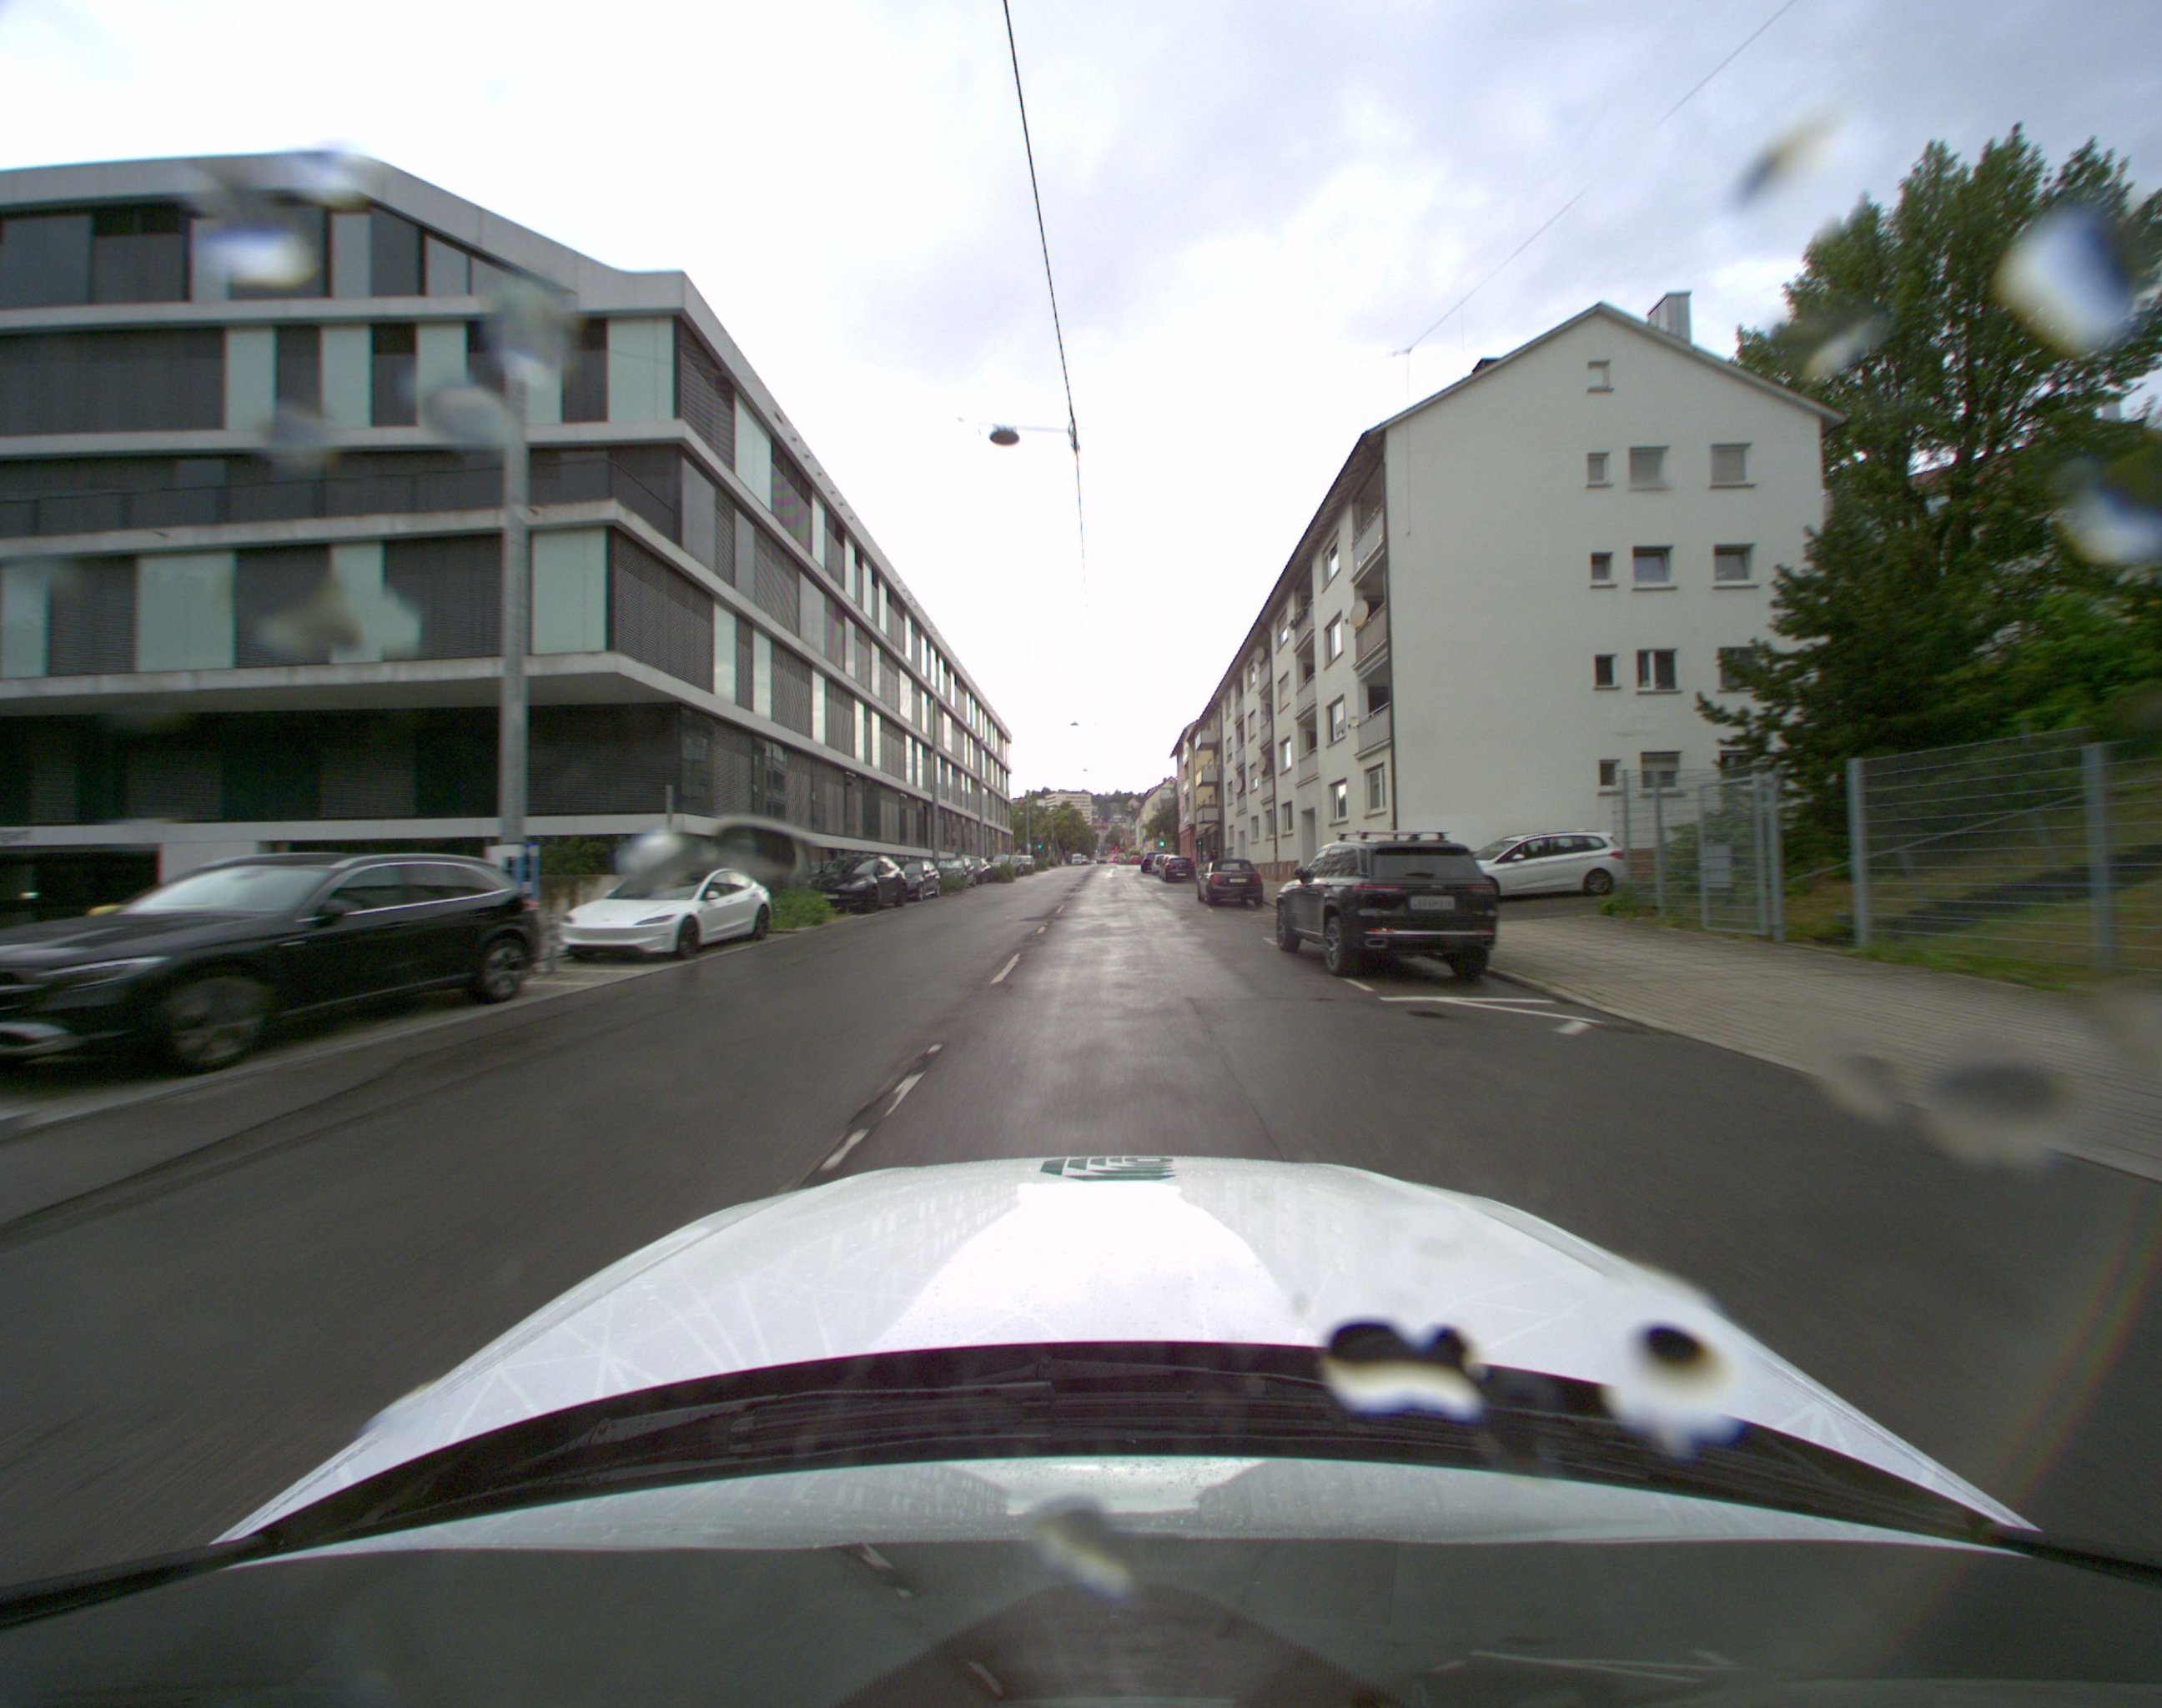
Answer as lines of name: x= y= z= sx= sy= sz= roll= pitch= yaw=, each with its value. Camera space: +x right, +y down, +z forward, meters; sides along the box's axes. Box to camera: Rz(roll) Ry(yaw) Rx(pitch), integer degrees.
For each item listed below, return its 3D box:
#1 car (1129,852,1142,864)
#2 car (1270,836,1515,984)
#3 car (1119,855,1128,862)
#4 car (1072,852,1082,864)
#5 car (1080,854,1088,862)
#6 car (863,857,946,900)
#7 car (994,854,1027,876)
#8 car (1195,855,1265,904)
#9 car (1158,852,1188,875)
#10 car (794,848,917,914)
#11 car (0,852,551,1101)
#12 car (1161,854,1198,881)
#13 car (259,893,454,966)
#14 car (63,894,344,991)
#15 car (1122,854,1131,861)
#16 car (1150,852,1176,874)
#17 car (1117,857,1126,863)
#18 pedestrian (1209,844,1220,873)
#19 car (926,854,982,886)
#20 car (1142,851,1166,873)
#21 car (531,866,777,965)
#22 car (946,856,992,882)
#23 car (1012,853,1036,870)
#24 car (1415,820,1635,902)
car: x=7.960 y=0.580 z=118.590 sx=1.858 sy=1.770 sz=4.194 roll=0 pitch=-1 yaw=5
car: x=4.250 y=0.682 z=12.060 sx=1.928 sy=1.750 sz=4.798 roll=0 pitch=-1 yaw=2
car: x=9.831 y=1.134 z=188.648 sx=1.858 sy=1.604 sz=4.194 roll=0 pitch=-1 yaw=5
car: x=-0.856 y=0.881 z=174.440 sx=2.098 sy=2.546 sz=4.749 roll=0 pitch=-1 yaw=0
car: x=0.768 y=1.138 z=213.290 sx=1.862 sy=2.141 sz=4.355 roll=0 pitch=-1 yaw=-2
car: x=-6.445 y=0.851 z=30.283 sx=1.864 sy=1.473 sz=4.742 roll=0 pitch=-1 yaw=2
car: x=-5.290 y=0.812 z=61.657 sx=1.793 sy=1.604 sz=4.239 roll=0 pitch=-1 yaw=5
car: x=4.808 y=0.785 z=26.708 sx=1.667 sy=1.459 sz=3.765 roll=0 pitch=0 yaw=1
car: x=5.826 y=0.619 z=51.707 sx=1.576 sy=1.413 sz=3.655 roll=0 pitch=-1 yaw=2
car: x=-6.558 y=0.743 z=24.332 sx=1.954 sy=1.750 sz=4.947 roll=0 pitch=-1 yaw=4
car: x=-7.390 y=0.813 z=7.566 sx=1.842 sy=1.617 sz=4.493 roll=0 pitch=-1 yaw=2
car: x=5.571 y=0.769 z=46.400 sx=1.700 sy=1.454 sz=3.986 roll=0 pitch=-1 yaw=2
car: x=-21.414 y=2.214 z=24.174 sx=4.326 sy=2.032 sz=1.599 roll=0 pitch=-1 yaw=1
car: x=-21.504 y=2.121 z=20.142 sx=4.581 sy=2.174 sz=1.928 roll=0 pitch=-1 yaw=-5
car: x=9.896 y=0.767 z=178.322 sx=1.858 sy=1.604 sz=4.194 roll=0 pitch=-1 yaw=5
car: x=6.053 y=0.671 z=60.308 sx=1.629 sy=1.571 sz=3.712 roll=0 pitch=-1 yaw=2
car: x=9.806 y=1.444 z=196.804 sx=1.858 sy=1.604 sz=4.194 roll=0 pitch=-1 yaw=5
pedestrian: x=8.865 y=0.298 z=54.148 sx=0.636 sy=1.870 sz=0.539 roll=0 pitch=-1 yaw=3
car: x=-6.104 y=0.750 z=39.630 sx=1.856 sy=1.489 sz=4.348 roll=0 pitch=-1 yaw=2
car: x=5.987 y=0.617 z=66.962 sx=1.649 sy=1.738 sz=4.181 roll=0 pitch=0 yaw=1
car: x=-7.095 y=0.934 z=14.166 sx=1.814 sy=1.419 sz=4.404 roll=0 pitch=-1 yaw=2
car: x=-6.263 y=0.804 z=45.982 sx=1.830 sy=1.396 sz=4.394 roll=0 pitch=-1 yaw=2
car: x=-5.047 y=0.641 z=72.578 sx=1.588 sy=1.459 sz=3.722 roll=0 pitch=0 yaw=3
car: x=11.045 y=0.175 z=20.510 sx=4.422 sy=1.713 sz=1.905 roll=-4 pitch=-1 yaw=1
